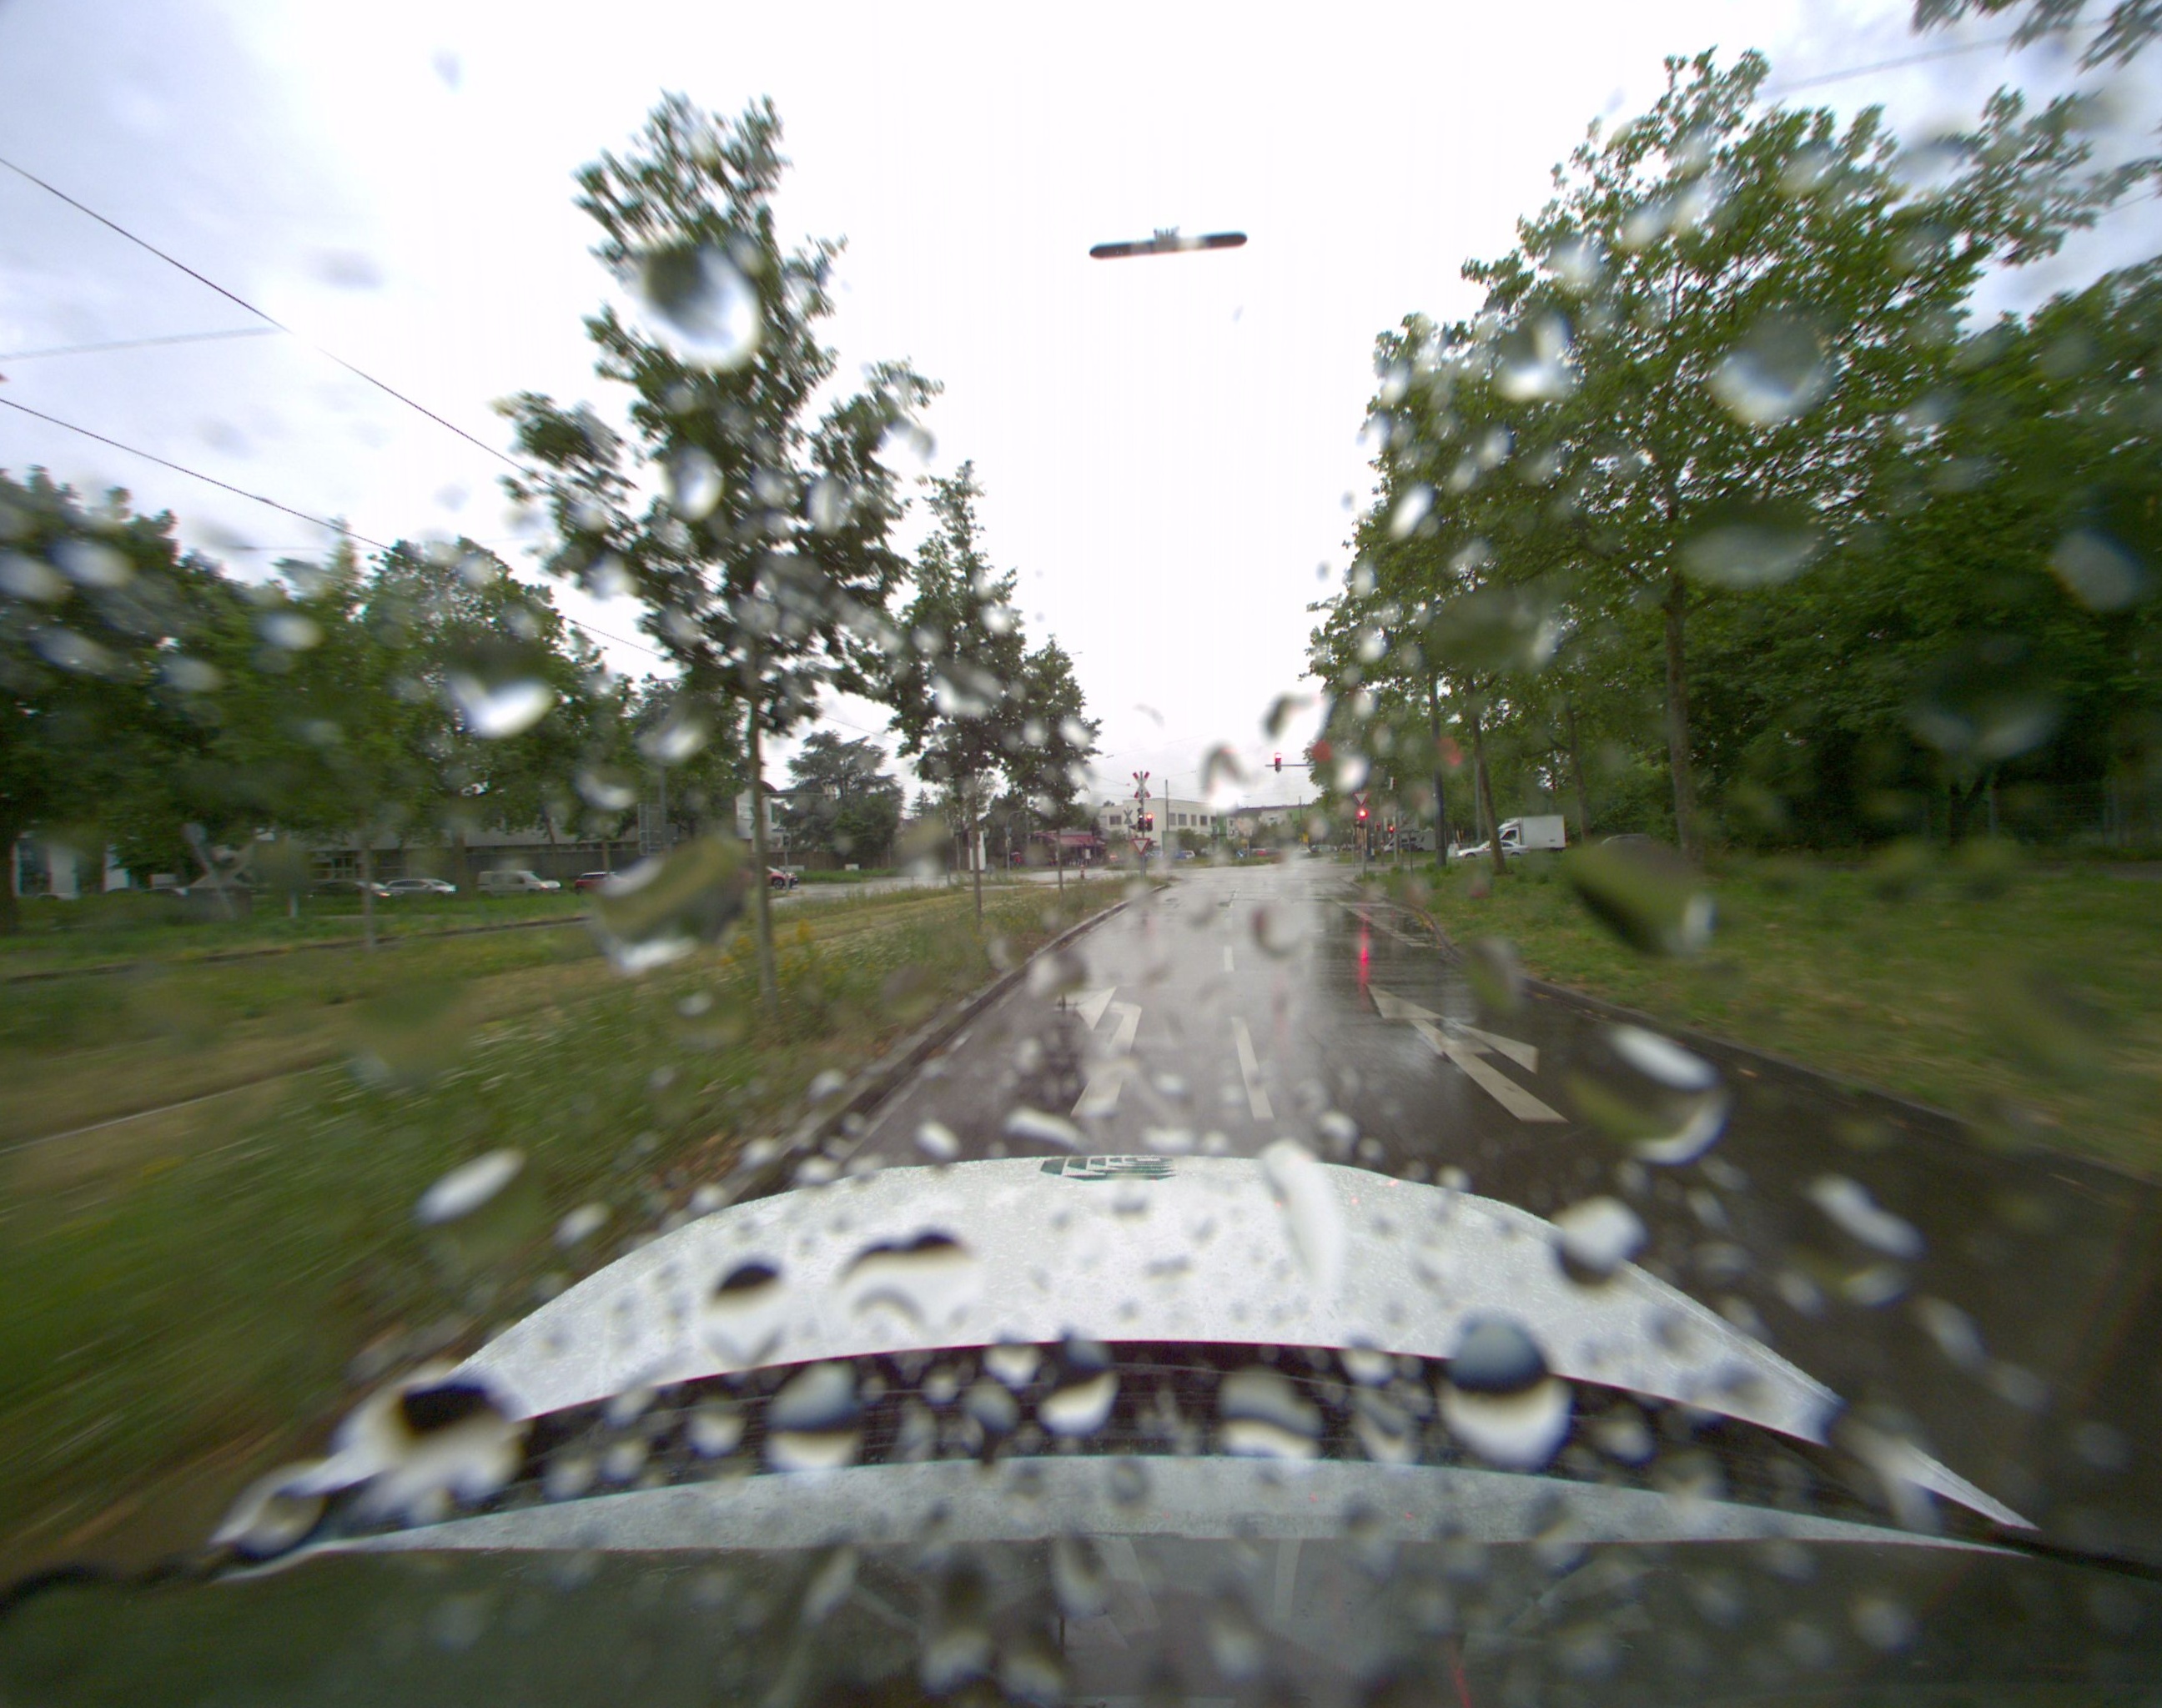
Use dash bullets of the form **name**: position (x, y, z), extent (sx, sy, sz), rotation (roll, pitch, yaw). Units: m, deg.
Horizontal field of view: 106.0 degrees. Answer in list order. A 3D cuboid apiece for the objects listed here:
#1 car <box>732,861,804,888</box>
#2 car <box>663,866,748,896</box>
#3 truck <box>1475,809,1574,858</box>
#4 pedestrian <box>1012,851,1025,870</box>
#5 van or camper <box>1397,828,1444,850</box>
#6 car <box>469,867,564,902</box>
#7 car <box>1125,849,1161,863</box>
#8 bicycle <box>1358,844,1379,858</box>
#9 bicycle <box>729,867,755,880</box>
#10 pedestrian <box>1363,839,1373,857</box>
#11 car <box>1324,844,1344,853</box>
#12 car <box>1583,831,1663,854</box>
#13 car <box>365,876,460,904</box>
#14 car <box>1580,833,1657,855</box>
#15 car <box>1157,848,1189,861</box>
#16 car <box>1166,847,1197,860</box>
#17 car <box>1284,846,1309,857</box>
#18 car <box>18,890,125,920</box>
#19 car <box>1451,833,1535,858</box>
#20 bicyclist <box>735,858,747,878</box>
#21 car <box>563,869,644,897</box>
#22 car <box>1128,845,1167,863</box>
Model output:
- **car**: position (-19.469, 1.285, 50.722), extent (3.805, 1.499, 1.652), rotation (-2, 0, 0)
- **car**: position (-21.642, 1.552, 47.042), extent (4.052, 1.499, 1.652), rotation (-2, 0, 0)
- **truck**: position (29.726, -1.328, 54.785), extent (5.438, 3.058, 1.985), rotation (-2, 0, 7)
- **pedestrian**: position (-5.940, 0.636, 77.464), extent (0.806, 1.763, 0.899), rotation (-2, 0, -34)
- **van or camper**: position (42.761, -1.840, 102.615), extent (5.171, 2.697, 2.257), rotation (0, 1, 29)
- **car**: position (-32.583, 1.736, 47.084), extent (4.201, 1.796, 1.650), rotation (-2, 1, -4)
- **car**: position (6.968, 0.201, 91.065), extent (3.723, 1.442, 1.769), rotation (-2, 0, 14)
- **bicycle**: position (24.490, -0.248, 69.317), extent (1.555, 1.101, 0.500), rotation (-2, 0, 2)
- **bicycle**: position (-29.179, 1.688, 70.024), extent (1.948, 0.967, 0.643), rotation (-3, -1, 7)
- **pedestrian**: position (24.439, -0.516, 69.320), extent (0.573, 1.475, 0.500), rotation (-2, 0, 3)
- **car**: position (54.632, -1.168, 176.035), extent (4.102, 1.860, 1.681), rotation (-3, -1, 17)
- **car**: position (35.853, -0.731, 53.950), extent (4.087, 1.390, 1.648), rotation (-2, 0, 7)
- **car**: position (-41.014, 2.201, 50.044), extent (4.343, 1.455, 1.651), rotation (-2, 0, -1)
- **car**: position (38.084, -0.677, 57.818), extent (4.175, 1.422, 1.770), rotation (-2, 0, 9)
- **car**: position (11.107, 0.029, 98.866), extent (3.733, 1.442, 1.765), rotation (-2, 0, 4)
- **car**: position (12.590, -0.048, 101.939), extent (3.733, 1.442, 1.765), rotation (-2, 0, 4)
- **car**: position (39.968, -0.419, 151.159), extent (4.113, 1.860, 1.676), rotation (-3, 0, 6)
- **car**: position (-56.310, 2.818, 45.458), extent (3.805, 1.395, 1.651), rotation (-2, 0, -1)
- **car**: position (26.335, -0.525, 52.137), extent (4.487, 1.390, 1.648), rotation (-2, 0, 7)
- **bicyclist**: position (-29.208, 1.215, 70.027), extent (0.680, 1.683, 0.643), rotation (-3, -1, 7)
- **car**: position (-29.548, 1.777, 50.463), extent (3.900, 1.498, 1.650), rotation (-2, 1, -5)
- **car**: position (7.687, 0.039, 94.459), extent (4.102, 1.860, 1.681), rotation (-3, -1, 17)
